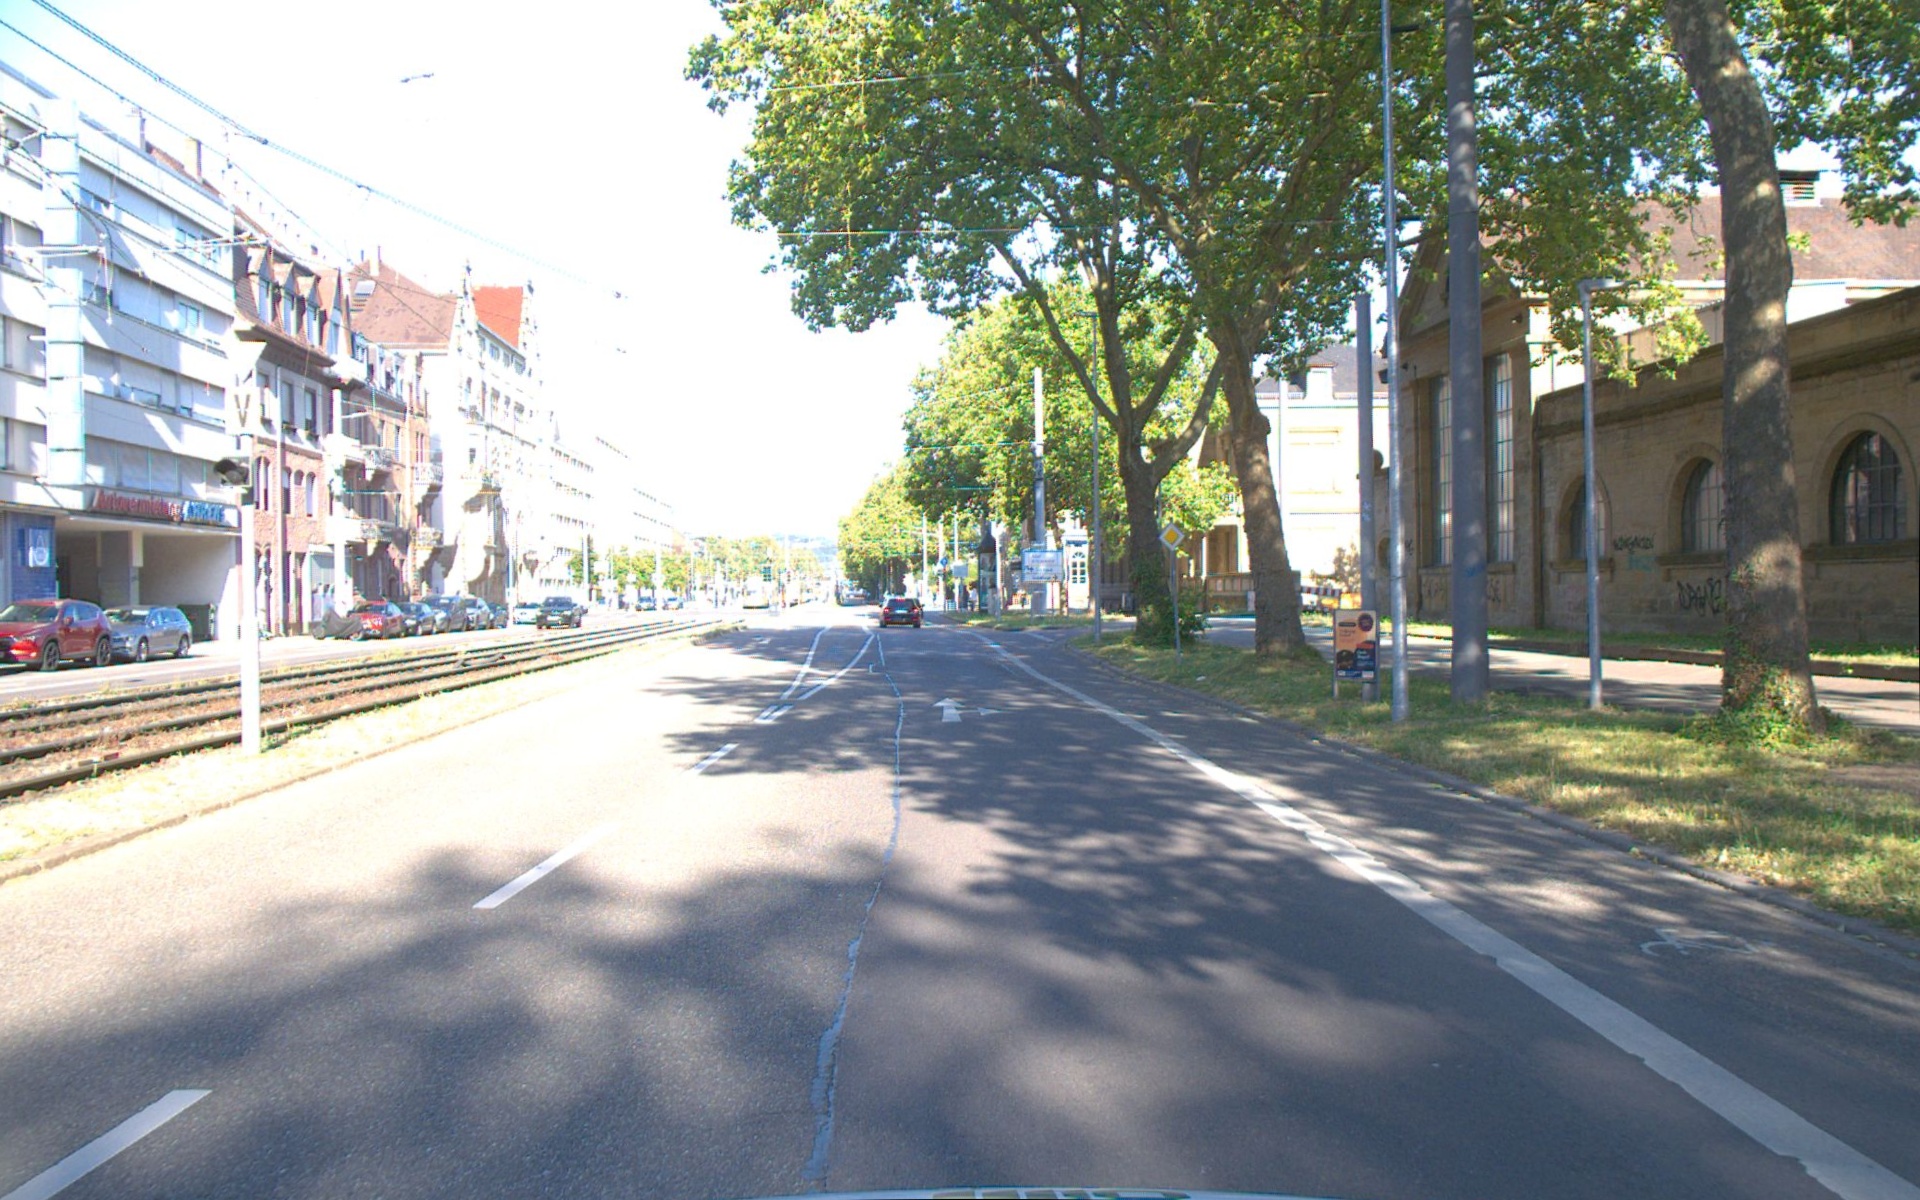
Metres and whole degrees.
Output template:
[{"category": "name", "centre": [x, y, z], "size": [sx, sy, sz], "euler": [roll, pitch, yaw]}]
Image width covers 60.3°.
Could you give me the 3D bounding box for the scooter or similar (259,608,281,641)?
[{"category": "scooter or similar", "centre": [-26.664, 0.944, 63.914], "size": [0.383, 1.226, 1.199], "euler": [1, 0, -3]}]

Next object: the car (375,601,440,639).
[{"category": "car", "centre": [-24.373, 0.851, 73.089], "size": [1.759, 1.536, 3.997], "euler": [2, 0, -4]}]

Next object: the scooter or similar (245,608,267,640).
[{"category": "scooter or similar", "centre": [-27.221, 0.928, 63.946], "size": [0.383, 1.226, 1.199], "euler": [1, 0, -3]}]

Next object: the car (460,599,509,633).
[{"category": "car", "centre": [-25.707, 0.847, 89.489], "size": [1.653, 1.681, 4.196], "euler": [2, 0, -4]}]

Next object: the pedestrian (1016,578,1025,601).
[{"category": "pedestrian", "centre": [4.602, -0.789, 125.155], "size": [0.575, 1.758, 0.651], "euler": [1, 0, 11]}]

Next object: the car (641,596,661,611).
[{"category": "car", "centre": [-33.403, 0.358, 178.702], "size": [1.760, 1.536, 3.995], "euler": [-2, 1, -6]}]

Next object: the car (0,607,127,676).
[{"category": "car", "centre": [-22.336, 0.979, 40.536], "size": [1.797, 1.585, 4.350], "euler": [0, 0, -3]}]

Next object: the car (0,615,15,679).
[{"category": "car", "centre": [-21.965, 1.027, 35.225], "size": [1.799, 1.415, 4.028], "euler": [2, 0, -9]}]

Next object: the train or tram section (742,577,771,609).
[{"category": "train or tram section", "centre": [-23.328, -0.863, 189.887], "size": [2.769, 3.511, 9.057], "euler": [-2, 1, -4]}]

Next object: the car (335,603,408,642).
[{"category": "car", "centre": [-24.263, 0.895, 68.332], "size": [1.759, 1.485, 4.262], "euler": [2, 0, -5]}]

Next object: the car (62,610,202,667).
[{"category": "car", "centre": [-22.772, 1.013, 45.687], "size": [1.797, 1.415, 4.678], "euler": [-1, 0, -4]}]

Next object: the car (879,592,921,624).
[{"category": "car", "centre": [-2.852, 0.366, 78.037], "size": [1.797, 1.415, 4.155], "euler": [-1, 0, -4]}]

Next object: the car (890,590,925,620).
[{"category": "car", "centre": [-2.820, 0.258, 88.669], "size": [1.758, 1.536, 3.997], "euler": [-2, 0, -3]}]

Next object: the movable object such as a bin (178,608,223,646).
[{"category": "movable object such as a bin", "centre": [-28.567, 1.017, 62.227], "size": [1.386, 1.395, 0.633], "euler": [-1, 0, -11]}]

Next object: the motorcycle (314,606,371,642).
[{"category": "motorcycle", "centre": [-24.243, 0.959, 64.970], "size": [2.037, 1.350, 0.836], "euler": [2, 0, -20]}]

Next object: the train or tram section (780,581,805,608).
[{"category": "train or tram section", "centre": [-22.361, -0.732, 221.328], "size": [2.769, 3.511, 9.059], "euler": [-2, 1, -3]}]

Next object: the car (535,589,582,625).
[{"category": "car", "centre": [-19.983, 0.327, 82.431], "size": [1.604, 1.629, 4.154], "euler": [-3, 1, -6]}]

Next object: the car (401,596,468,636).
[{"category": "car", "centre": [-24.843, 0.724, 78.319], "size": [1.758, 1.784, 4.454], "euler": [2, 0, -1]}]

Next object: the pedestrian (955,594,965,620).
[{"category": "pedestrian", "centre": [-0.018, 0.456, 109.601], "size": [0.575, 1.758, 0.651], "euler": [0, 0, 9]}]

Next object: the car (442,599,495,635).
[{"category": "car", "centre": [-25.036, 0.837, 84.364], "size": [1.653, 1.681, 4.196], "euler": [2, 0, -4]}]

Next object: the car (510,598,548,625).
[{"category": "car", "centre": [-26.449, 0.712, 101.558], "size": [1.761, 1.536, 3.993], "euler": [2, 0, -8]}]

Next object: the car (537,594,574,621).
[{"category": "car", "centre": [-27.573, 0.475, 112.753], "size": [1.759, 1.749, 4.180], "euler": [2, 0, -5]}]
